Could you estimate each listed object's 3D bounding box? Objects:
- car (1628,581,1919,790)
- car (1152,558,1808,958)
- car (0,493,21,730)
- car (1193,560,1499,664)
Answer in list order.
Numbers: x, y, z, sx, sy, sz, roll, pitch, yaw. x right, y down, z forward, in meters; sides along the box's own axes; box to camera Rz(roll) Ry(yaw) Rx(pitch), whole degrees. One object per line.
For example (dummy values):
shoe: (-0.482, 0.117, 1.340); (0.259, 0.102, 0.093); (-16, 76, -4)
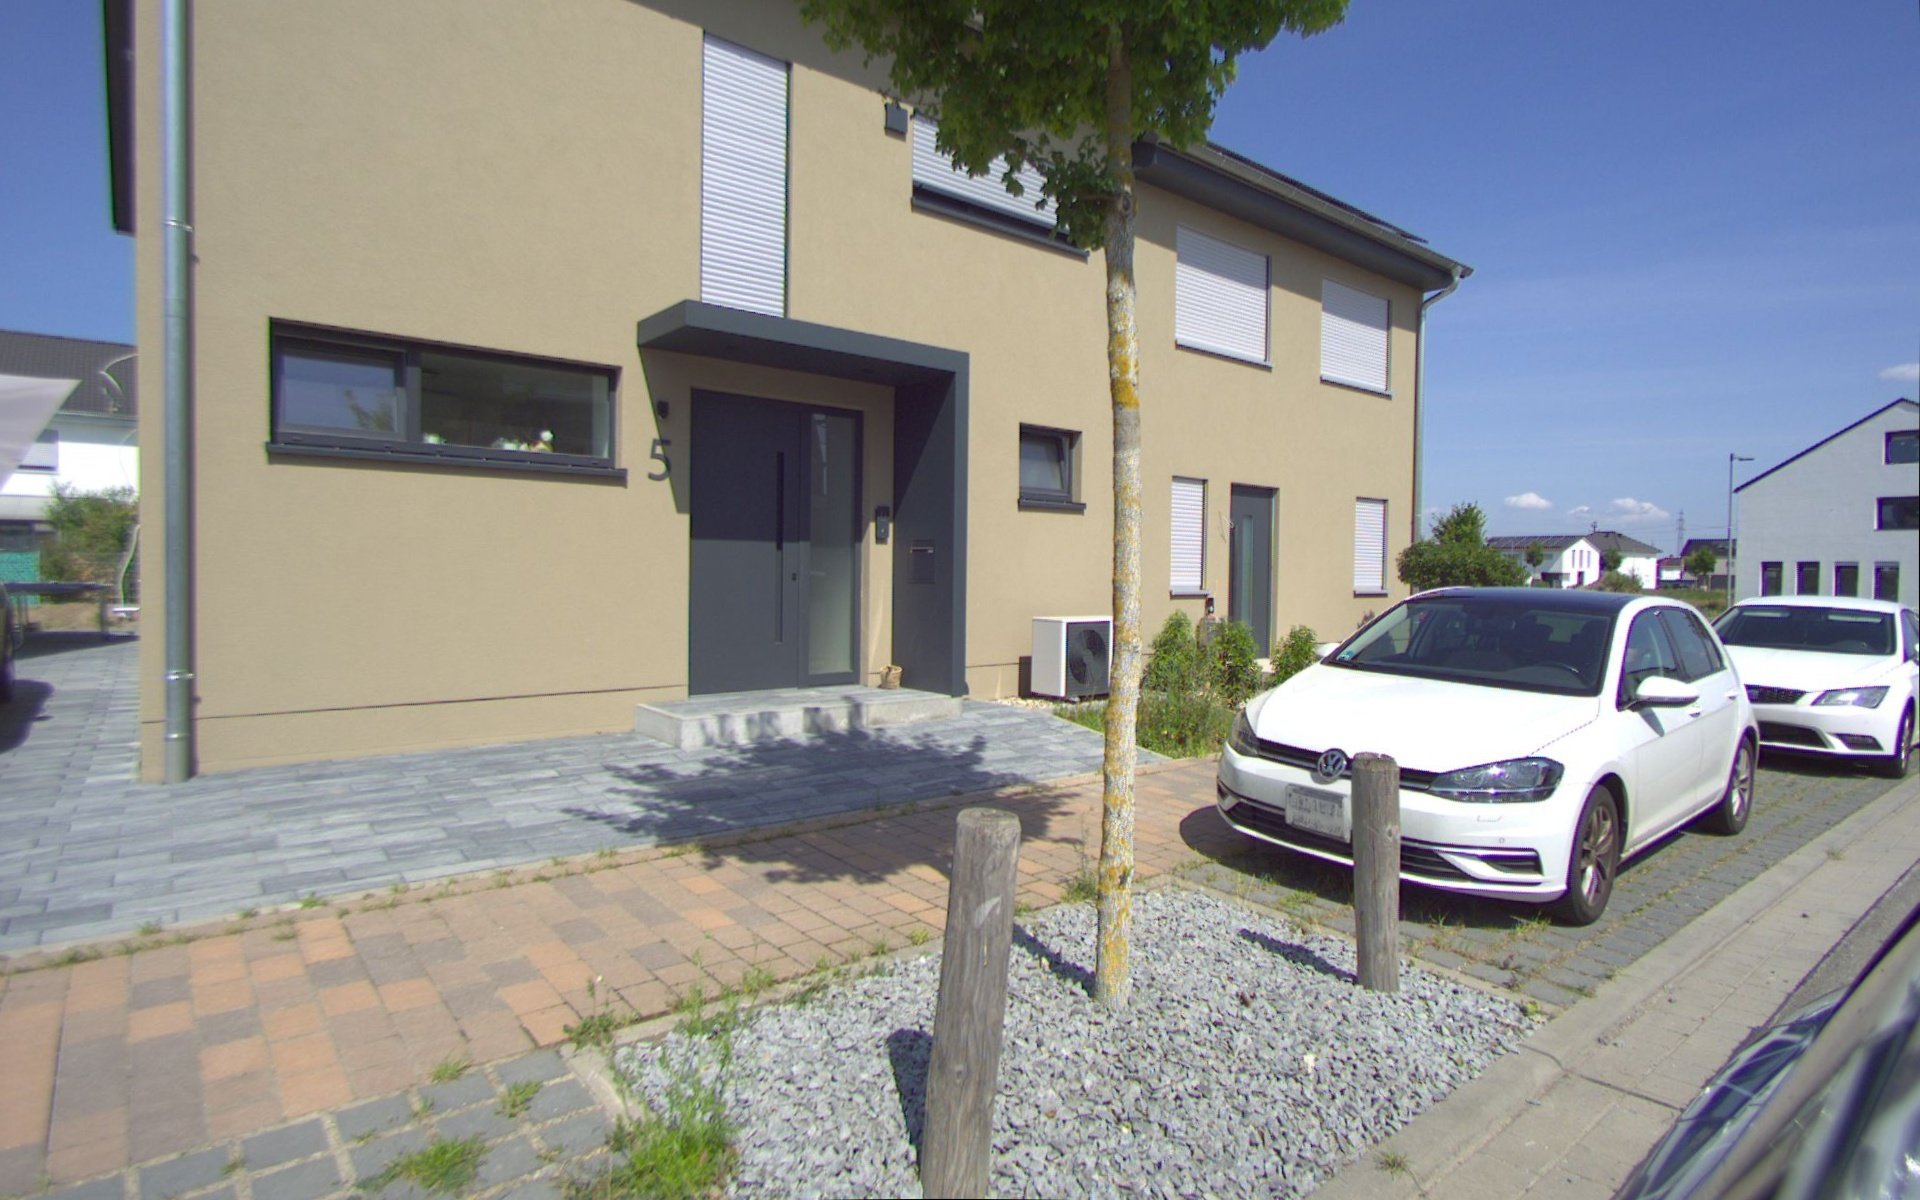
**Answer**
car: (8.224, 0.610, 9.607); (4.482, 1.473, 1.819); (0, 3, -39)
car: (3.255, 0.574, 5.874); (4.434, 1.443, 1.784); (0, 3, -40)
car: (-7.889, 0.061, 6.918); (1.966, 1.664, 4.755); (-2, 4, -41)
car: (6.852, 0.110, 18.531); (1.963, 1.443, 4.905); (0, 4, -36)
